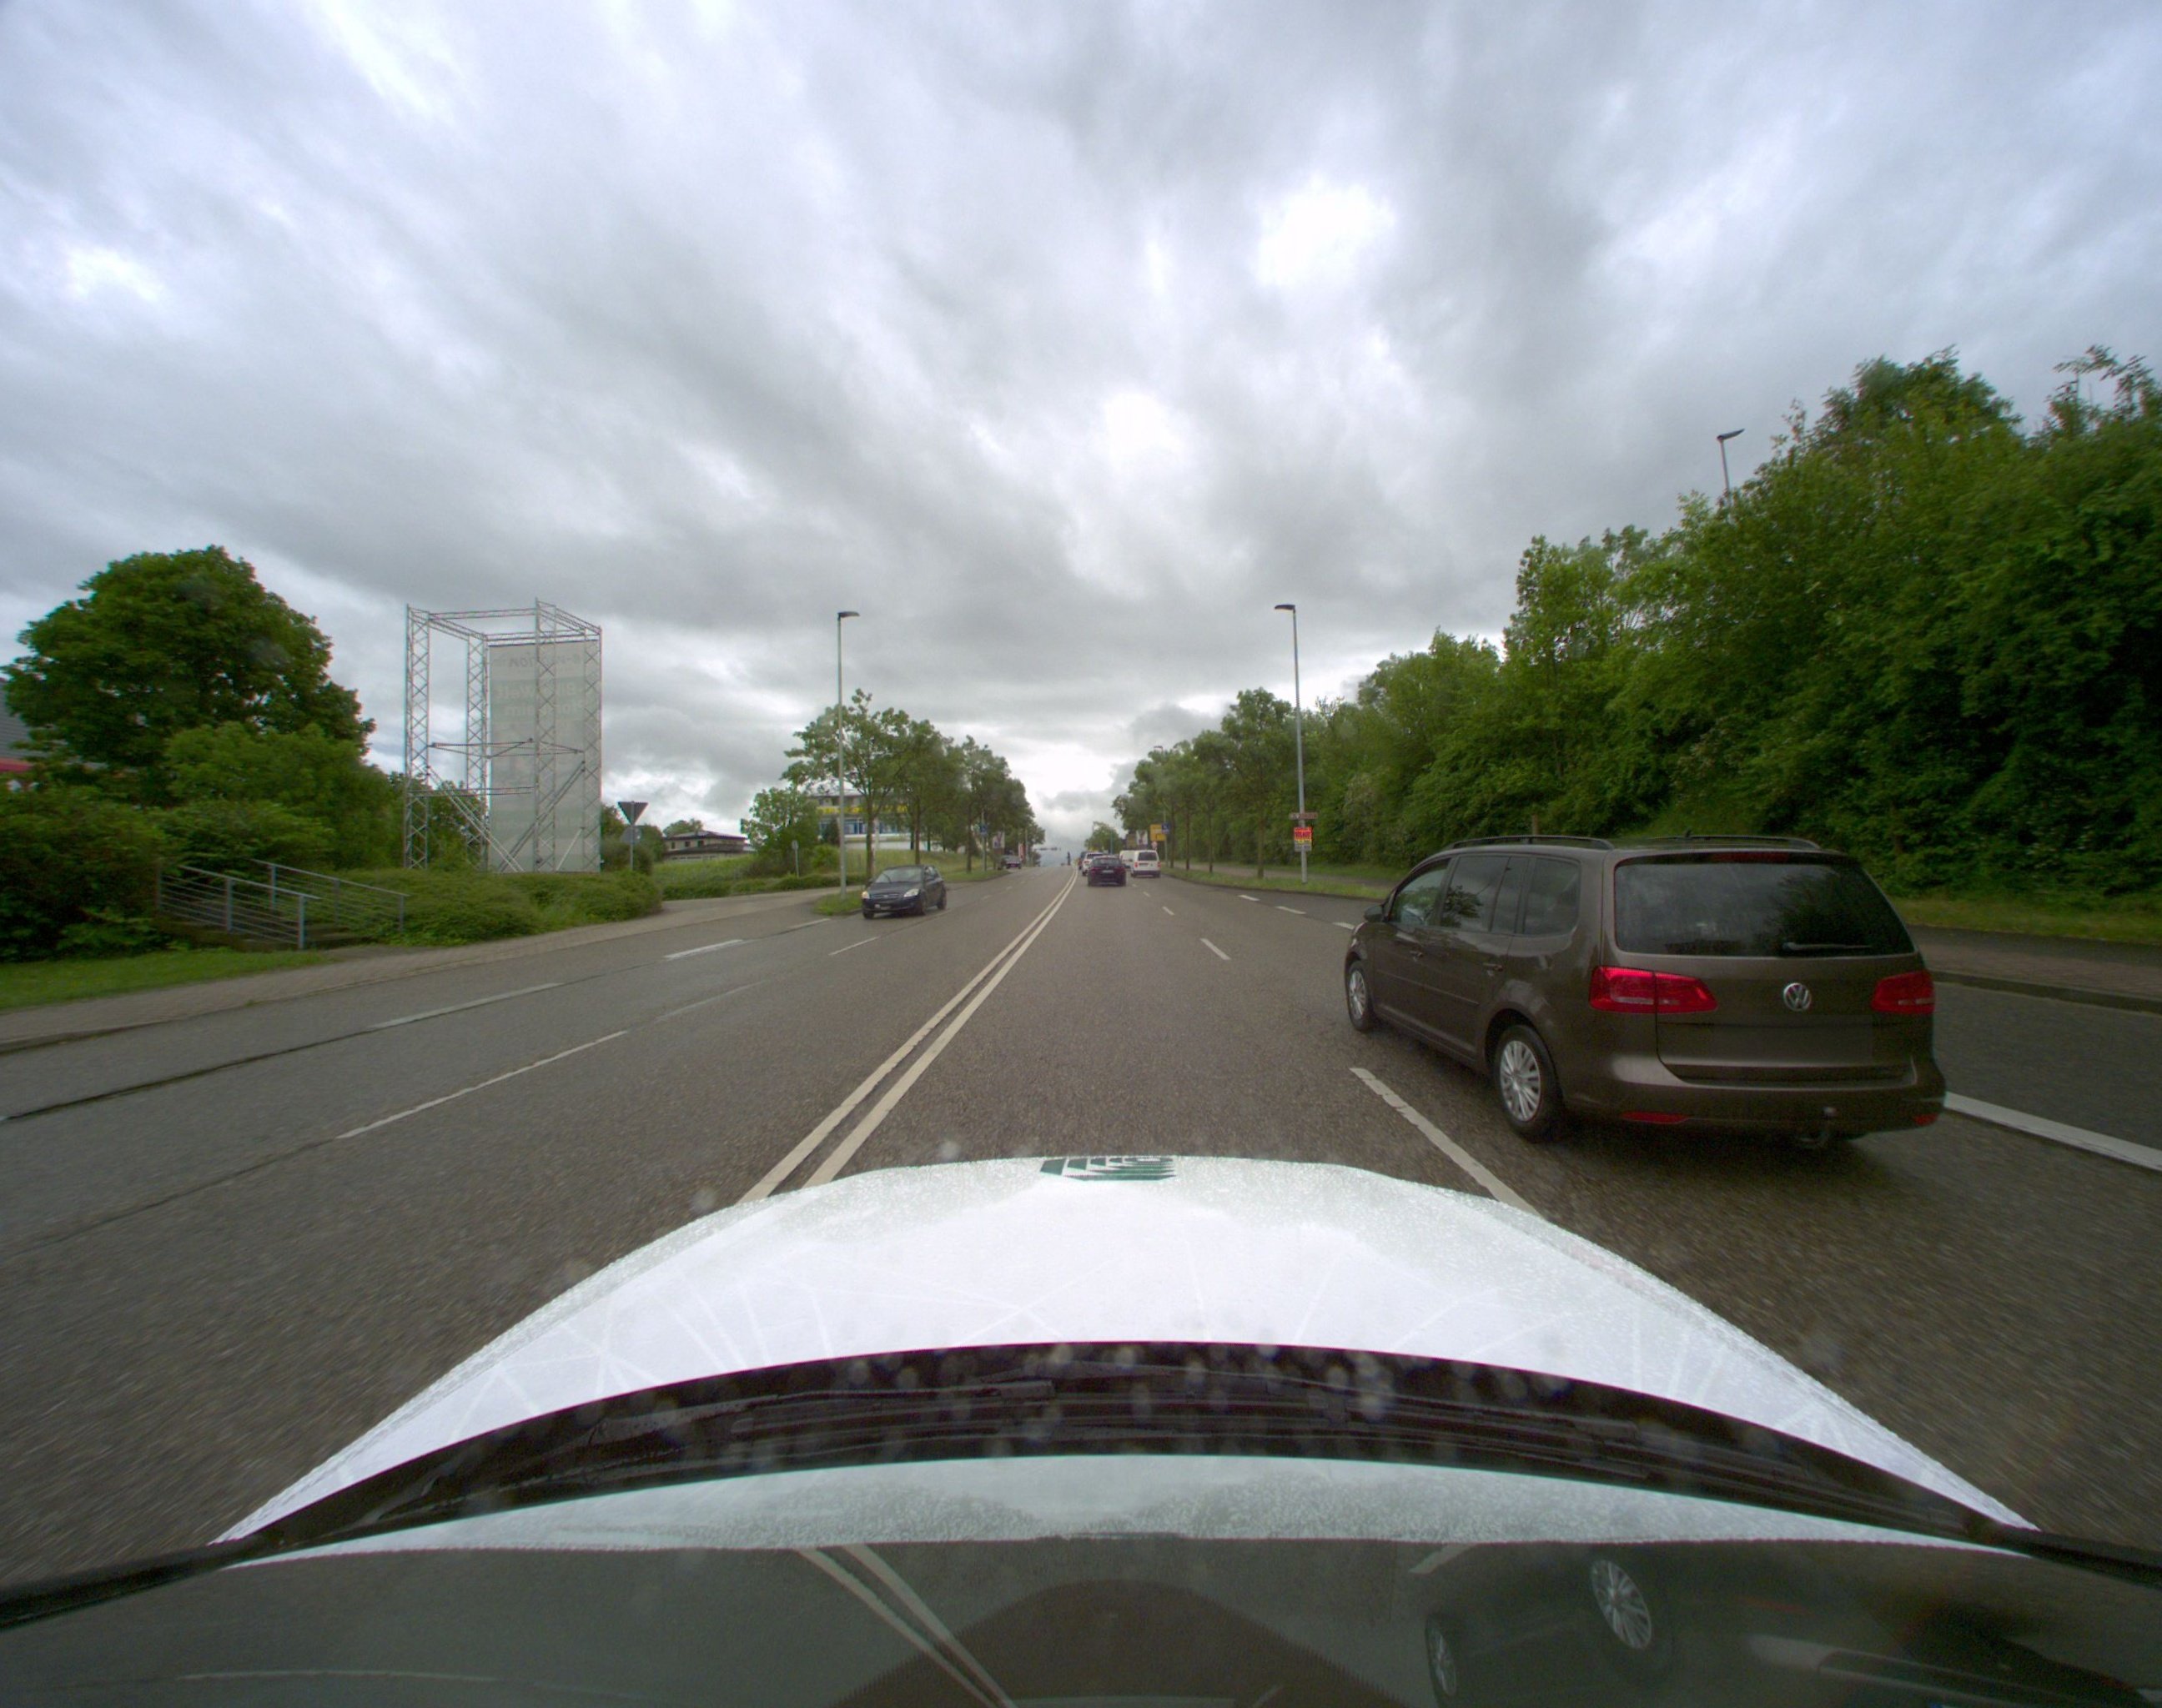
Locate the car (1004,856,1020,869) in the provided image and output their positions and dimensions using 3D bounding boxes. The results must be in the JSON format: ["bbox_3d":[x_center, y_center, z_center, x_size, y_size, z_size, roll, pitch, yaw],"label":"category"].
[{"bbox_3d":[-8.947,1.109,105.424,1.721,1.668,4.486,0,0,-1],"label":"car"}]

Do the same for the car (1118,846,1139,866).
[{"bbox_3d":[4.429,0.192,76.005,1.808,1.708,3.946,-2,0,1],"label":"car"}]

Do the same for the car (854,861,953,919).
[{"bbox_3d":[-5.255,1.022,24.628,1.729,1.454,4.005,-3,0,5],"label":"car"}]

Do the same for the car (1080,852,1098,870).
[{"bbox_3d":[0.793,0.716,82.052,1.752,1.708,3.946,-2,0,1],"label":"car"}]

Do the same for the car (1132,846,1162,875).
[{"bbox_3d":[4.298,0.425,53.786,1.735,1.869,3.946,0,0,1],"label":"car"}]

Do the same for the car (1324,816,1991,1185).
[{"bbox_3d":[3.150,0.655,5.643,1.708,1.596,4.130,-1,-1,0],"label":"car"}]

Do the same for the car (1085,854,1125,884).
[{"bbox_3d":[1.192,0.709,40.334,1.848,1.419,3.958,0,0,2],"label":"car"}]

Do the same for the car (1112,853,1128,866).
[{"bbox_3d":[4.324,0.603,90.565,1.595,1.372,3.680,-2,0,1],"label":"car"}]

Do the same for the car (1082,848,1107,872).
[{"bbox_3d":[0.987,0.442,59.686,1.721,1.711,3.384,0,0,2],"label":"car"}]
